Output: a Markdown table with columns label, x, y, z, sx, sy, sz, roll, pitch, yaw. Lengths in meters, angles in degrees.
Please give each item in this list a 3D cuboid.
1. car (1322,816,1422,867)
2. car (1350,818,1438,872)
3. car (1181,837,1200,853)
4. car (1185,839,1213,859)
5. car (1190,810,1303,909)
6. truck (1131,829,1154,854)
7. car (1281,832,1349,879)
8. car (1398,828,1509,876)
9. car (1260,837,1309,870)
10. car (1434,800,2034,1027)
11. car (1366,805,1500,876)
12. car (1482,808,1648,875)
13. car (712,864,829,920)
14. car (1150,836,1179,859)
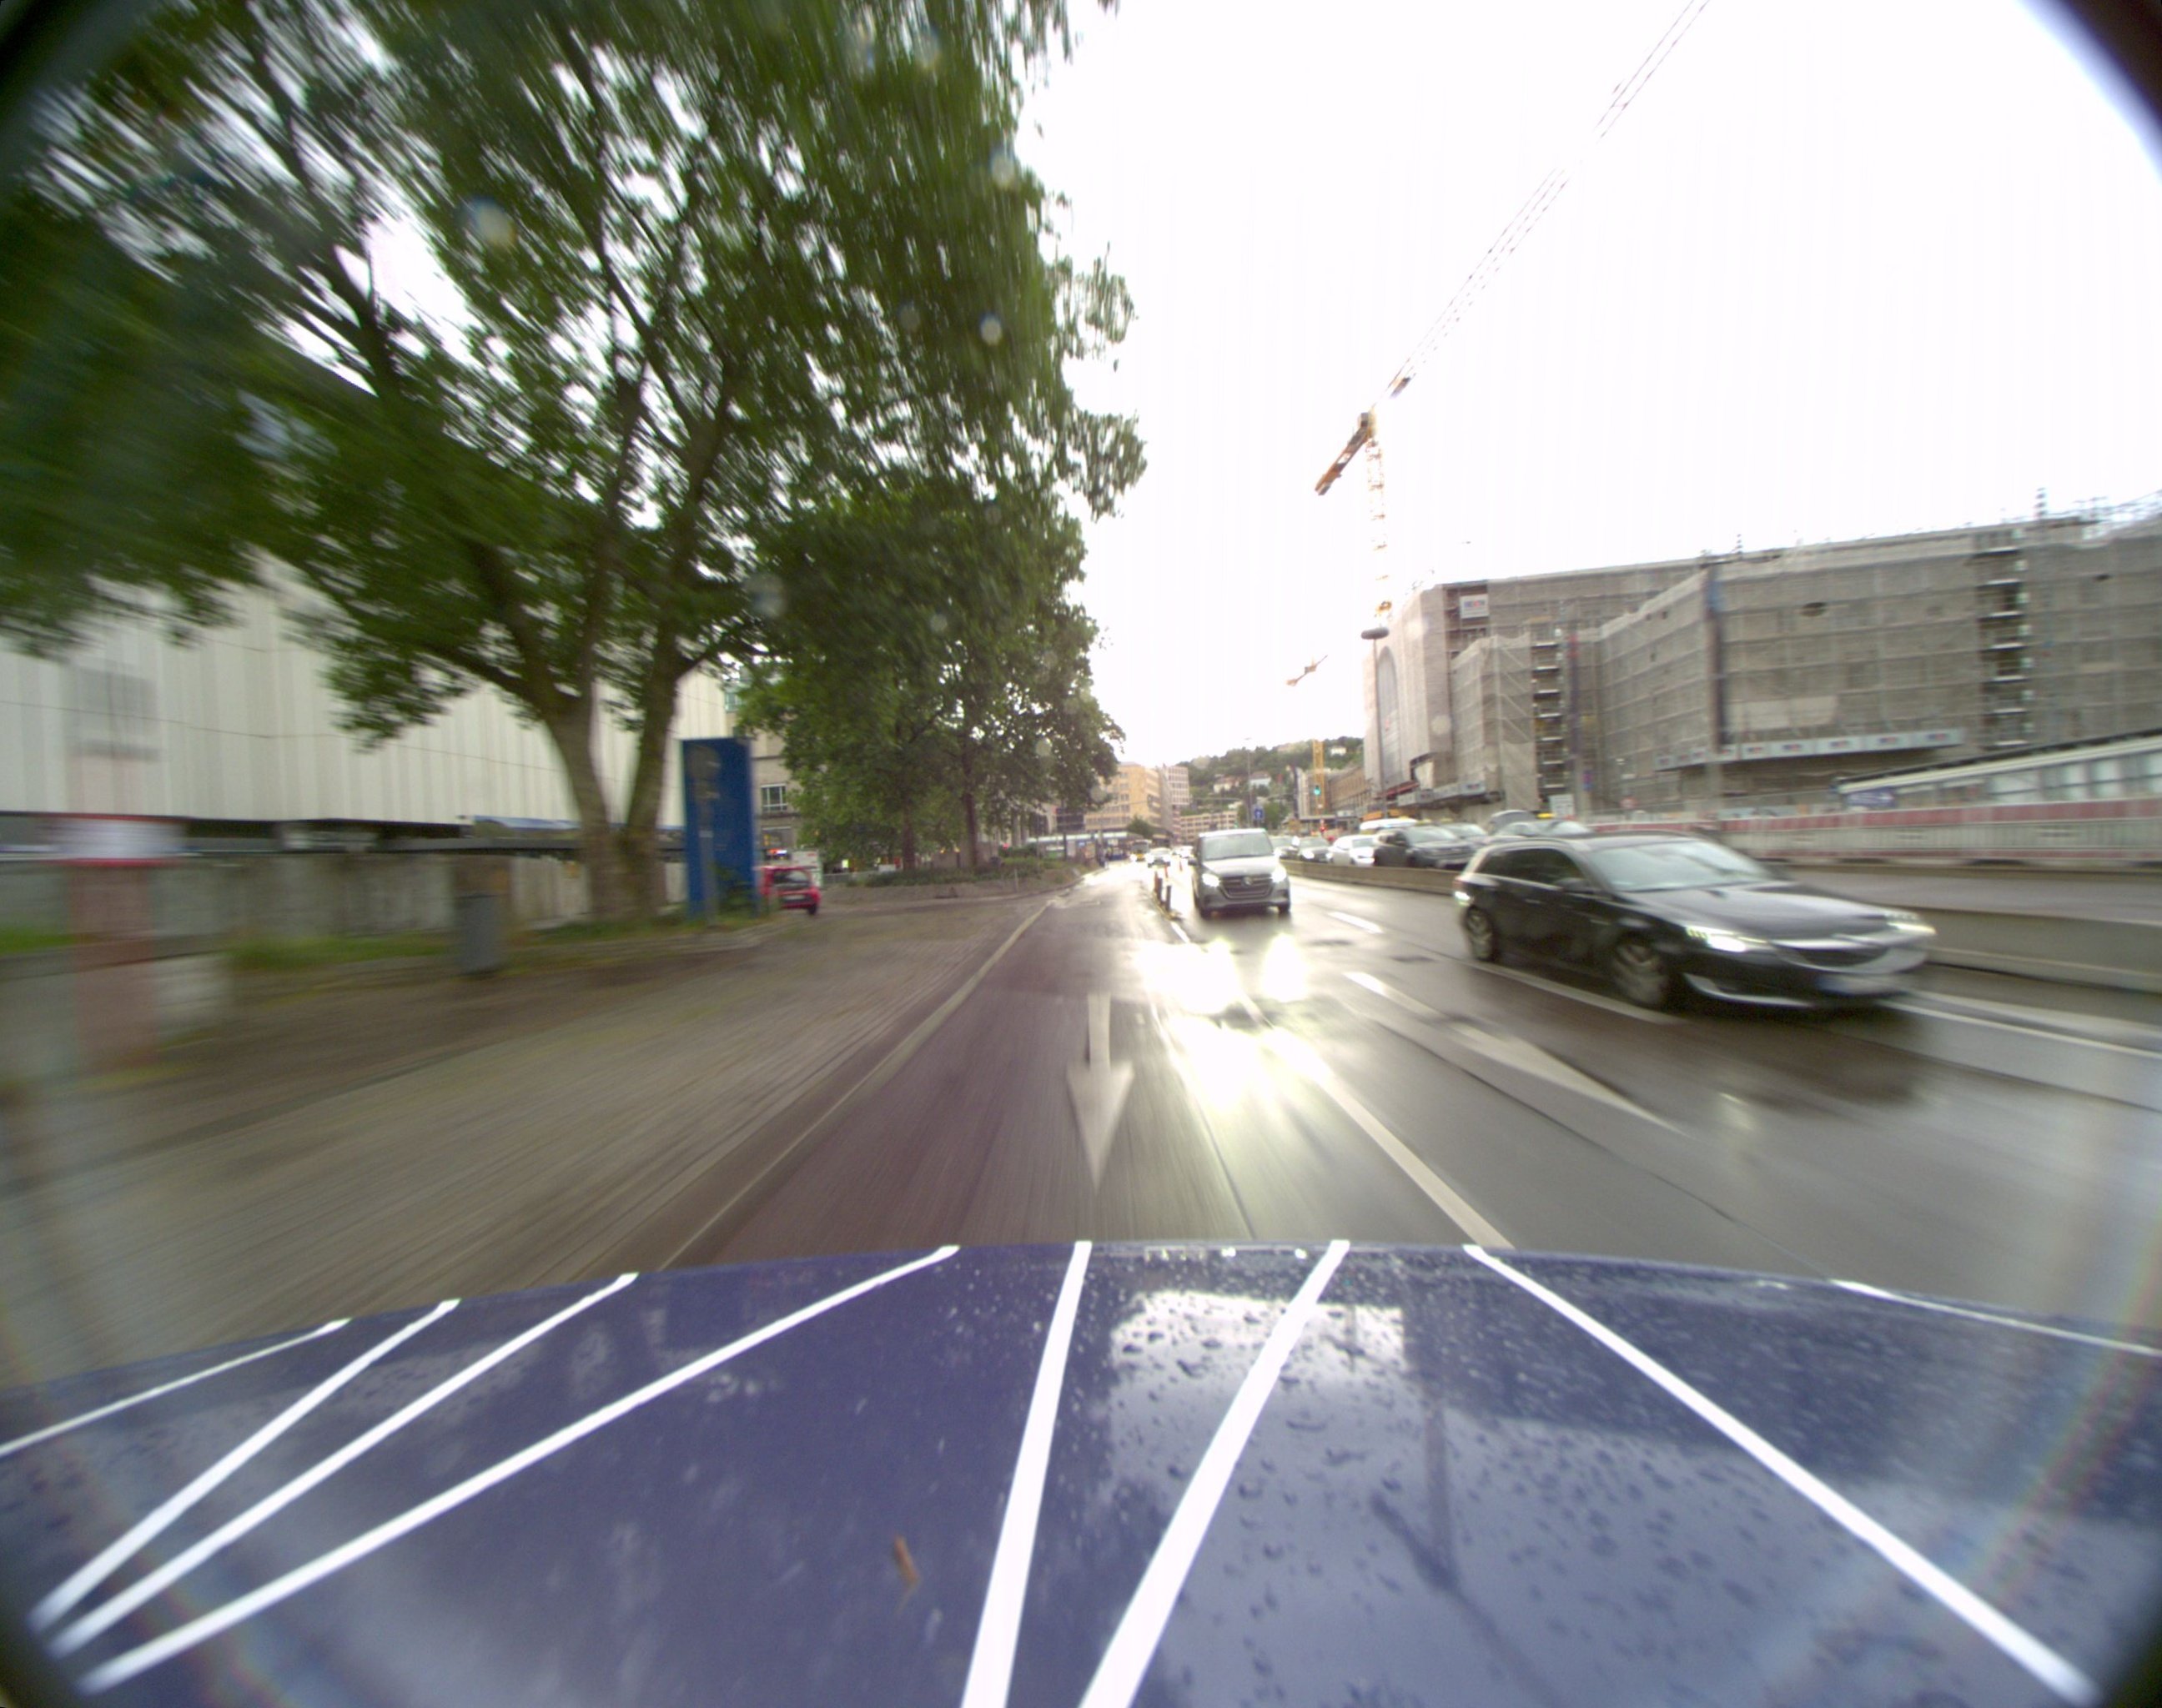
| label | x | y | z | sx | sy | sz | roll | pitch | yaw |
| --- | --- | --- | --- | --- | --- | --- | --- | --- | --- |
| car | 10.604 | -0.413 | 28.124 | 1.998 | 1.644 | 4.902 | -2 | 0 | 3 |
| car | 14.028 | -0.392 | 34.445 | 2.003 | 2.194 | 4.997 | -2 | 1 | 2 |
| car | 13.115 | -1.057 | 91.078 | 1.764 | 1.698 | 4.000 | -3 | 0 | 1 |
| car | 10.089 | -0.447 | 65.249 | 1.814 | 1.529 | 4.249 | -3 | 1 | 2 |
| car | 3.714 | 0.102 | 18.007 | 1.998 | 1.845 | 5.360 | -4 | 0 | 7 |
| truck | 9.140 | -1.853 | 113.828 | 3.044 | 3.396 | 8.953 | -3 | 1 | 2 |
| car | 11.338 | 0.051 | 37.104 | 1.998 | 2.101 | 4.714 | -2 | 1 | 3 |
| car | 13.656 | -0.078 | 28.133 | 2.172 | 1.564 | 4.000 | -2 | 1 | 1 |
| car | 11.522 | -0.078 | 43.371 | 1.997 | 1.707 | 4.756 | -2 | 1 | 7 |
| car | 5.567 | 0.383 | 7.611 | 1.812 | 1.455 | 4.918 | -3 | 1 | 1 |
| car | 10.234 | -0.390 | 22.483 | 1.998 | 1.804 | 4.292 | -3 | 1 | 1 |
| car | 13.521 | -0.348 | 21.632 | 1.832 | 1.643 | 4.573 | -2 | 1 | 1 |
| car | -9.274 | 1.078 | 22.535 | 3.989 | 1.447 | 1.704 | -2 | 1 | 45 |
| car | 6.801 | -0.523 | 62.402 | 1.998 | 1.753 | 4.000 | -2 | 1 | 1 |
